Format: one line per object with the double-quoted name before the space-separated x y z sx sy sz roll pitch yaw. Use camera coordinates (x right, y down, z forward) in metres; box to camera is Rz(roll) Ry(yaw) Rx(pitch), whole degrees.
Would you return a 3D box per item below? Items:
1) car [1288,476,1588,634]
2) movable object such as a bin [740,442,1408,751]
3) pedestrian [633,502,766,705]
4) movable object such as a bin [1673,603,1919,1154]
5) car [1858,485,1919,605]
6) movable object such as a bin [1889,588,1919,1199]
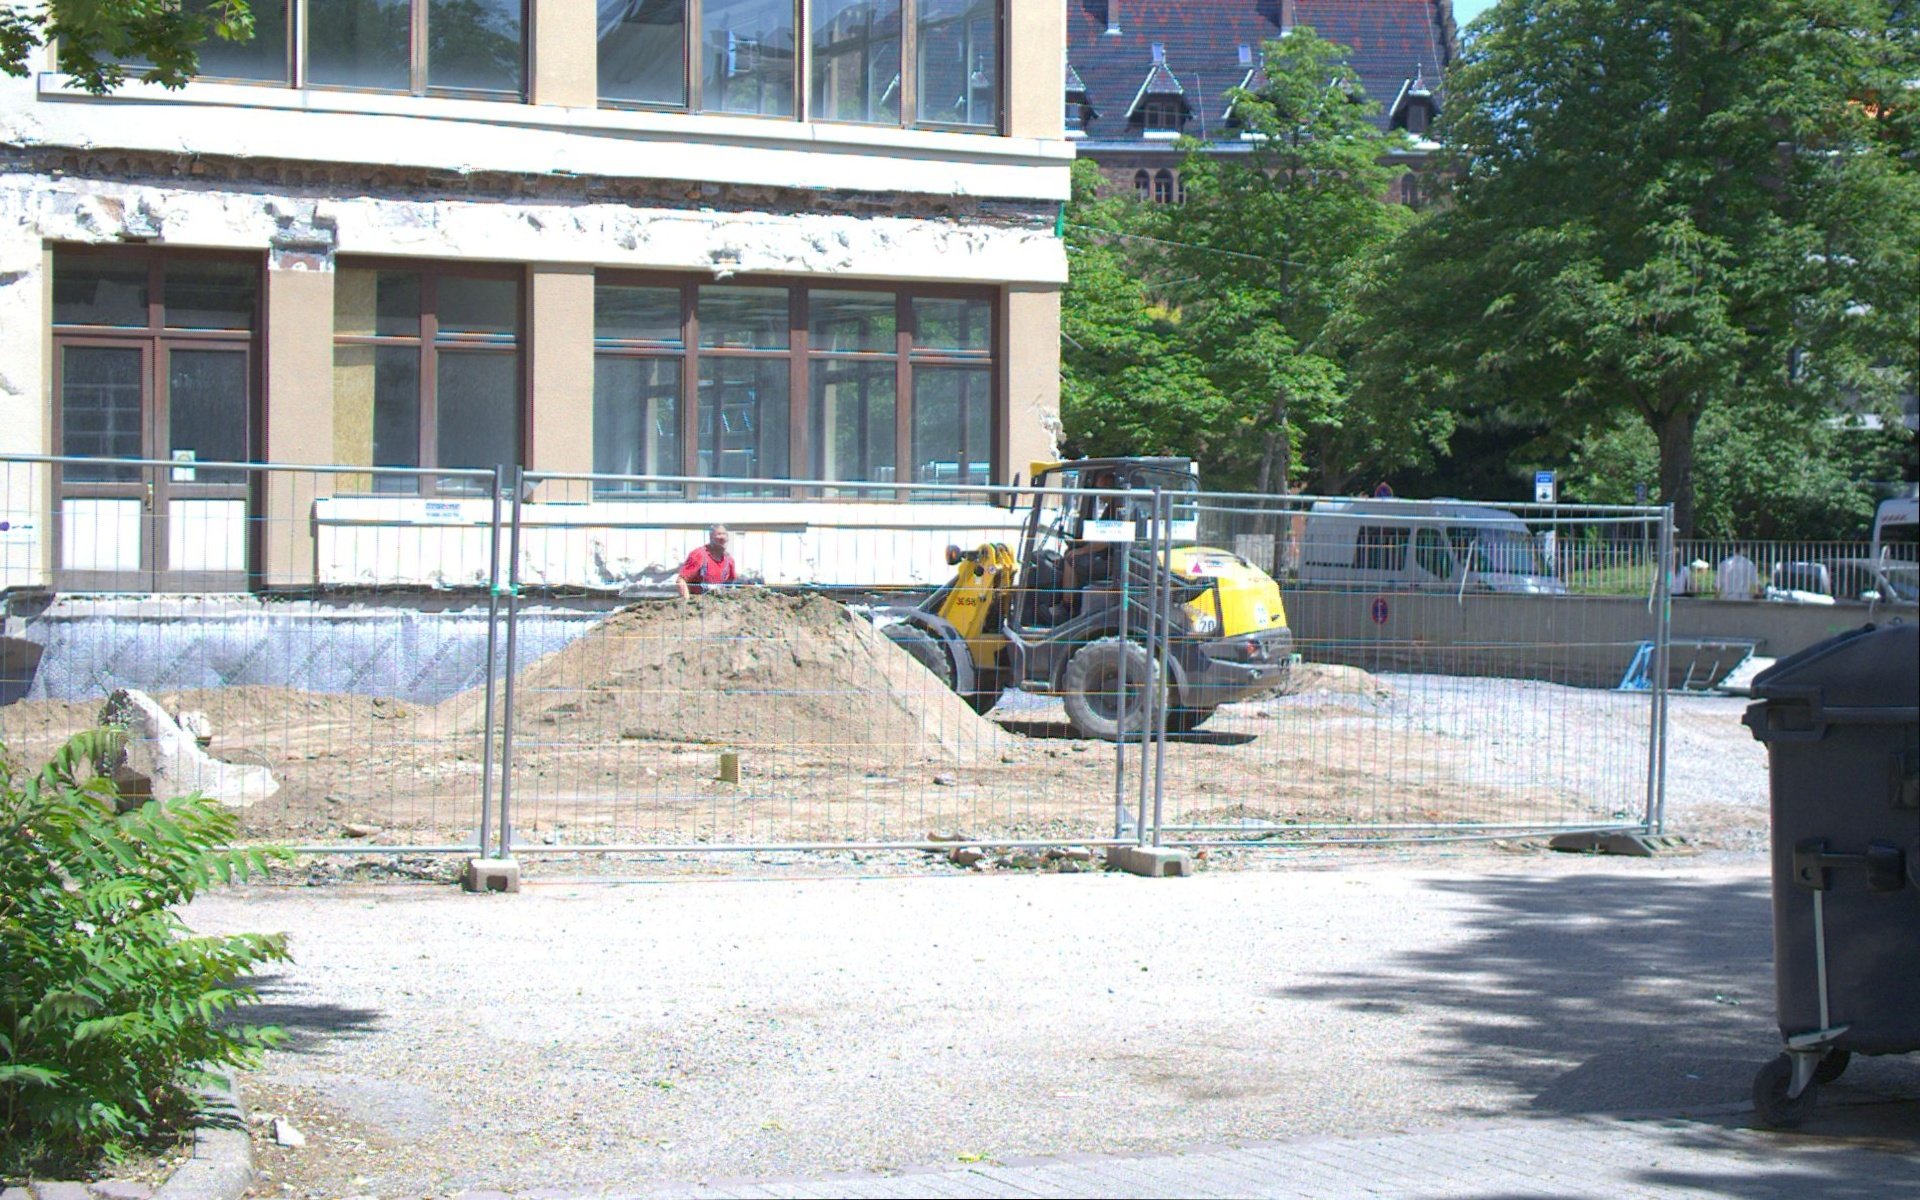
"car" 7.578 -0.720 55.088 1.993 2.408 5.244 0 1 -29
"movable object such as a bin" 1.014 -0.093 30.805 5.410 2.455 2.365 3 1 25
"pedestrian" -2.427 0.026 31.931 0.914 1.840 0.986 0 1 -27
"movable object such as a bin" 2.724 0.746 9.871 1.075 1.453 1.377 0 1 1
"car" 18.923 -1.062 66.994 2.187 2.250 4.863 1 1 21
"movable object such as a bin" 2.440 0.714 6.364 1.075 1.453 1.377 0 1 1
